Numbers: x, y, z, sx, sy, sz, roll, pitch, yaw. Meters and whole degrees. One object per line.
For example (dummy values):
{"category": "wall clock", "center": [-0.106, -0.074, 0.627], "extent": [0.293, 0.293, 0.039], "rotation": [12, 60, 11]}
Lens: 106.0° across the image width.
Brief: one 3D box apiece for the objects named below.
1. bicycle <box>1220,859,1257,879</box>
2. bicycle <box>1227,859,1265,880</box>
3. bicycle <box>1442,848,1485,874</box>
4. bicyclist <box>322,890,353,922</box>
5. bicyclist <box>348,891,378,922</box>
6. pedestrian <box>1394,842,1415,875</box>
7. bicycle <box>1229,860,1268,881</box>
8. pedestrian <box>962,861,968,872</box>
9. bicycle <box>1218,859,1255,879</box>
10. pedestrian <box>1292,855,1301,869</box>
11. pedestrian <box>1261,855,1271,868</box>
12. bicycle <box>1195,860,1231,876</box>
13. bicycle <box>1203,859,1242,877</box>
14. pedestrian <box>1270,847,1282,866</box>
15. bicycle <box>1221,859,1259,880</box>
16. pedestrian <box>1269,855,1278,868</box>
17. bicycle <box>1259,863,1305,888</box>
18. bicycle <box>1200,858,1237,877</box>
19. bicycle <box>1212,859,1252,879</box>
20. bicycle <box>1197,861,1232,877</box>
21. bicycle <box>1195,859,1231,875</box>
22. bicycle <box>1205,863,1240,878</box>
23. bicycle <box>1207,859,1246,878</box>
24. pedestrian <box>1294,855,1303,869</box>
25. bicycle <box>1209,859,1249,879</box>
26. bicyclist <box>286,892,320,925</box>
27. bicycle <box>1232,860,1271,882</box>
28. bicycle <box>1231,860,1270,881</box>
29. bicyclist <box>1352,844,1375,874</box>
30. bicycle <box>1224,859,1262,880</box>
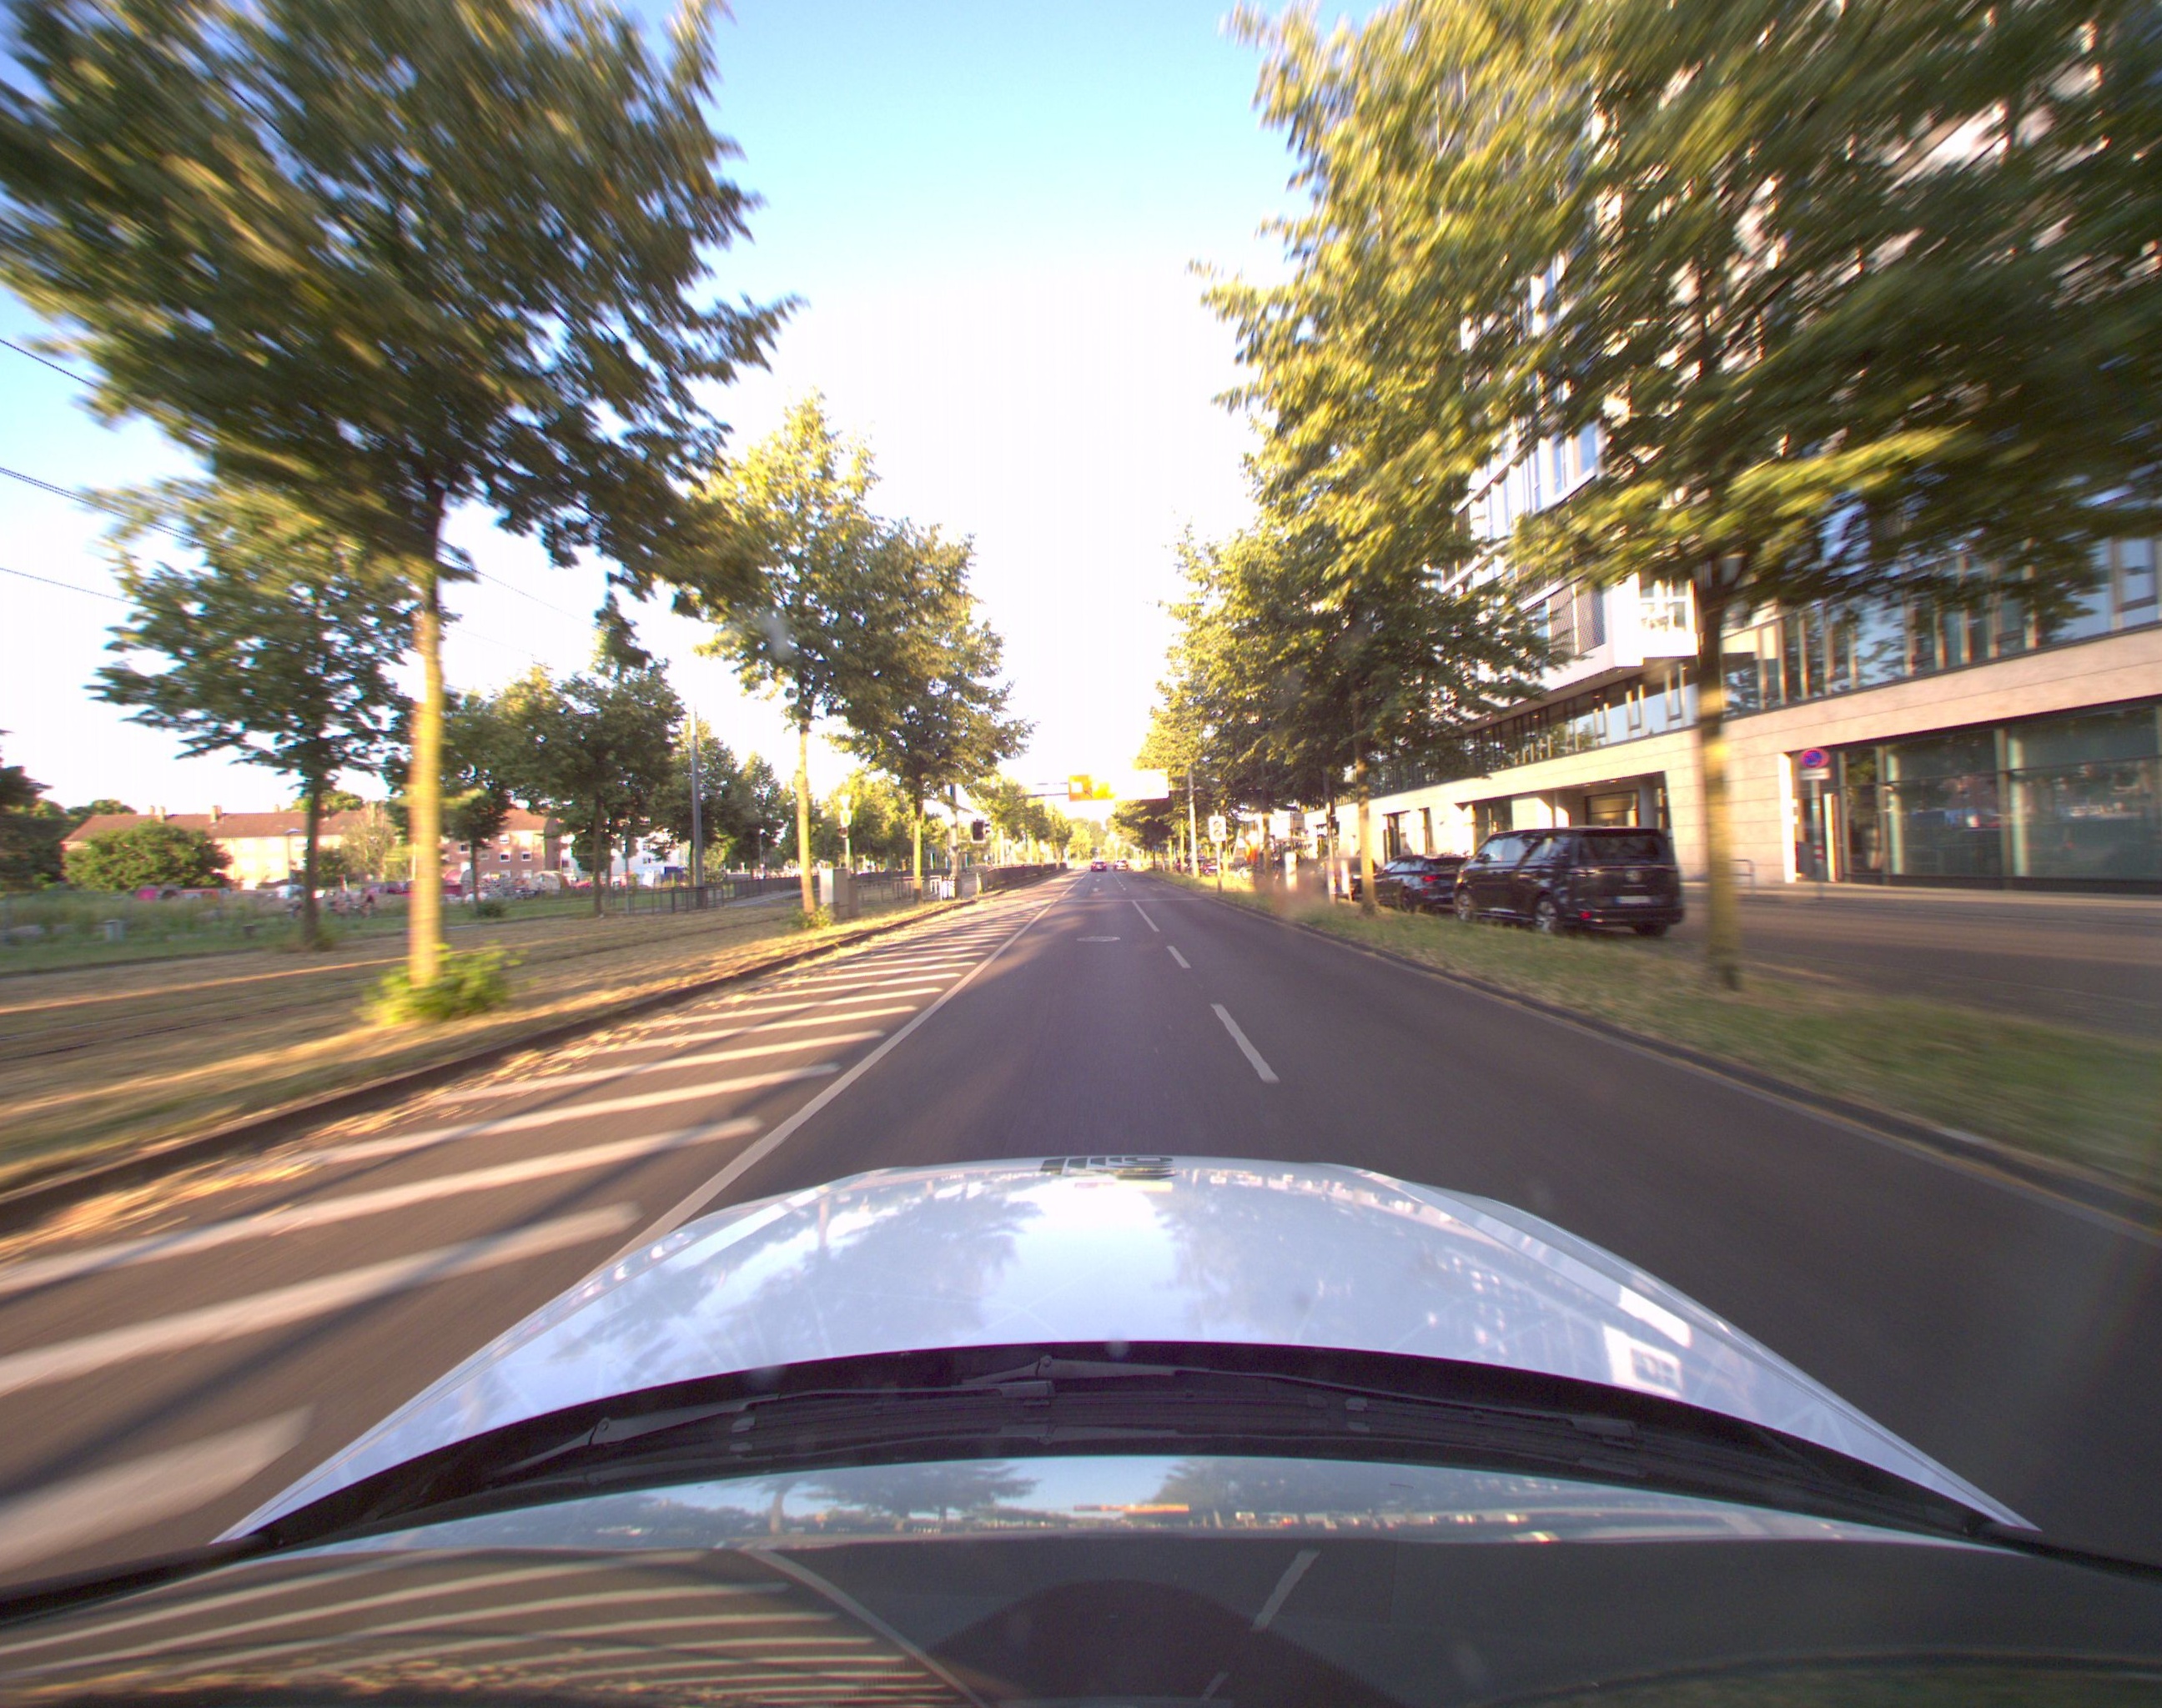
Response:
{"category": "bicycle", "center": [8.614, 0.828, 44.418], "extent": [1.939, 1.054, 0.403], "rotation": [1, -1, -6]}
{"category": "bicycle", "center": [8.655, 0.833, 42.693], "extent": [1.939, 1.054, 0.413], "rotation": [1, -1, -7]}
{"category": "bicycle", "center": [18.454, 0.330, 39.313], "extent": [1.824, 1.177, 0.446], "rotation": [-2, -1, 1]}
{"category": "bicyclist", "center": [-36.371, 2.537, 39.845], "extent": [0.617, 1.456, 0.937], "rotation": [-2, -1, -1]}
{"category": "bicyclist", "center": [-35.371, 2.572, 40.132], "extent": [0.617, 1.456, 0.937], "rotation": [-2, -1, -1]}
{"category": "pedestrian", "center": [16.597, 0.234, 41.842], "extent": [0.640, 1.648, 0.953], "rotation": [-2, -1, 0]}
{"category": "bicycle", "center": [8.661, 0.851, 42.117], "extent": [1.939, 1.054, 0.413], "rotation": [1, -1, -7]}
{"category": "pedestrian", "center": [-14.740, 1.623, 103.354], "extent": [0.613, 1.319, 0.744], "rotation": [-2, -1, -2]}
{"category": "bicycle", "center": [8.575, 0.835, 44.882], "extent": [1.939, 1.054, 0.403], "rotation": [1, -1, -6]}
{"category": "pedestrian", "center": [18.833, 0.693, 71.220], "extent": [0.569, 1.195, 0.807], "rotation": [-2, -1, 1]}
{"category": "pedestrian", "center": [18.696, 0.752, 82.232], "extent": [0.627, 1.283, 0.712], "rotation": [-2, -1, -20]}
{"category": "bicycle", "center": [8.105, 0.830, 49.875], "extent": [2.139, 0.940, 0.442], "rotation": [1, -1, -6]}
{"category": "bicycle", "center": [8.249, 0.814, 47.448], "extent": [2.139, 1.054, 0.524], "rotation": [1, -1, -6]}
{"category": "pedestrian", "center": [18.745, 0.230, 78.292], "extent": [0.707, 1.737, 0.683], "rotation": [-2, -1, -29]}
{"category": "bicycle", "center": [8.592, 0.842, 43.947], "extent": [1.937, 1.054, 0.404], "rotation": [1, -1, -2]}
{"category": "pedestrian", "center": [19.341, 0.744, 81.870], "extent": [0.577, 1.283, 0.738], "rotation": [-2, -1, -3]}
{"category": "bicycle", "center": [9.041, 0.968, 36.683], "extent": [1.935, 1.054, 0.545], "rotation": [1, -1, 0]}
{"category": "bicycle", "center": [8.163, 0.797, 48.452], "extent": [2.139, 1.054, 0.300], "rotation": [1, -1, -6]}
{"category": "bicycle", "center": [8.445, 0.855, 45.501], "extent": [2.139, 1.054, 0.570], "rotation": [1, -1, -6]}
{"category": "bicycle", "center": [8.342, 0.958, 50.895], "extent": [2.139, 0.940, 0.442], "rotation": [1, -1, -6]}
{"category": "bicycle", "center": [8.158, 0.823, 50.366], "extent": [2.139, 0.940, 0.451], "rotation": [1, -1, -6]}
{"category": "bicycle", "center": [9.007, 1.043, 51.827], "extent": [2.139, 0.940, 0.442], "rotation": [1, -1, -6]}
{"category": "bicycle", "center": [8.354, 0.838, 46.858], "extent": [2.139, 1.054, 0.570], "rotation": [1, -1, -6]}
{"category": "pedestrian", "center": [18.779, 0.697, 70.278], "extent": [0.569, 1.195, 0.807], "rotation": [-2, -1, 3]}
{"category": "bicycle", "center": [8.393, 0.847, 46.190], "extent": [2.139, 1.054, 0.561], "rotation": [1, -1, -6]}
{"category": "bicyclist", "center": [-36.223, 2.523, 37.915], "extent": [0.617, 1.421, 0.937], "rotation": [-2, -1, -1]}
{"category": "bicycle", "center": [8.653, 0.856, 41.275], "extent": [1.939, 1.054, 0.314], "rotation": [1, -1, -7]}
{"category": "bicycle", "center": [8.685, 0.852, 41.634], "extent": [1.939, 1.054, 0.347], "rotation": [1, -1, -7]}
{"category": "bicyclist", "center": [15.106, 0.277, 43.578], "extent": [0.769, 1.566, 0.991], "rotation": [-2, -1, -1]}
{"category": "bicycle", "center": [8.640, 0.825, 43.325], "extent": [1.939, 1.054, 0.413], "rotation": [1, -1, -7]}
